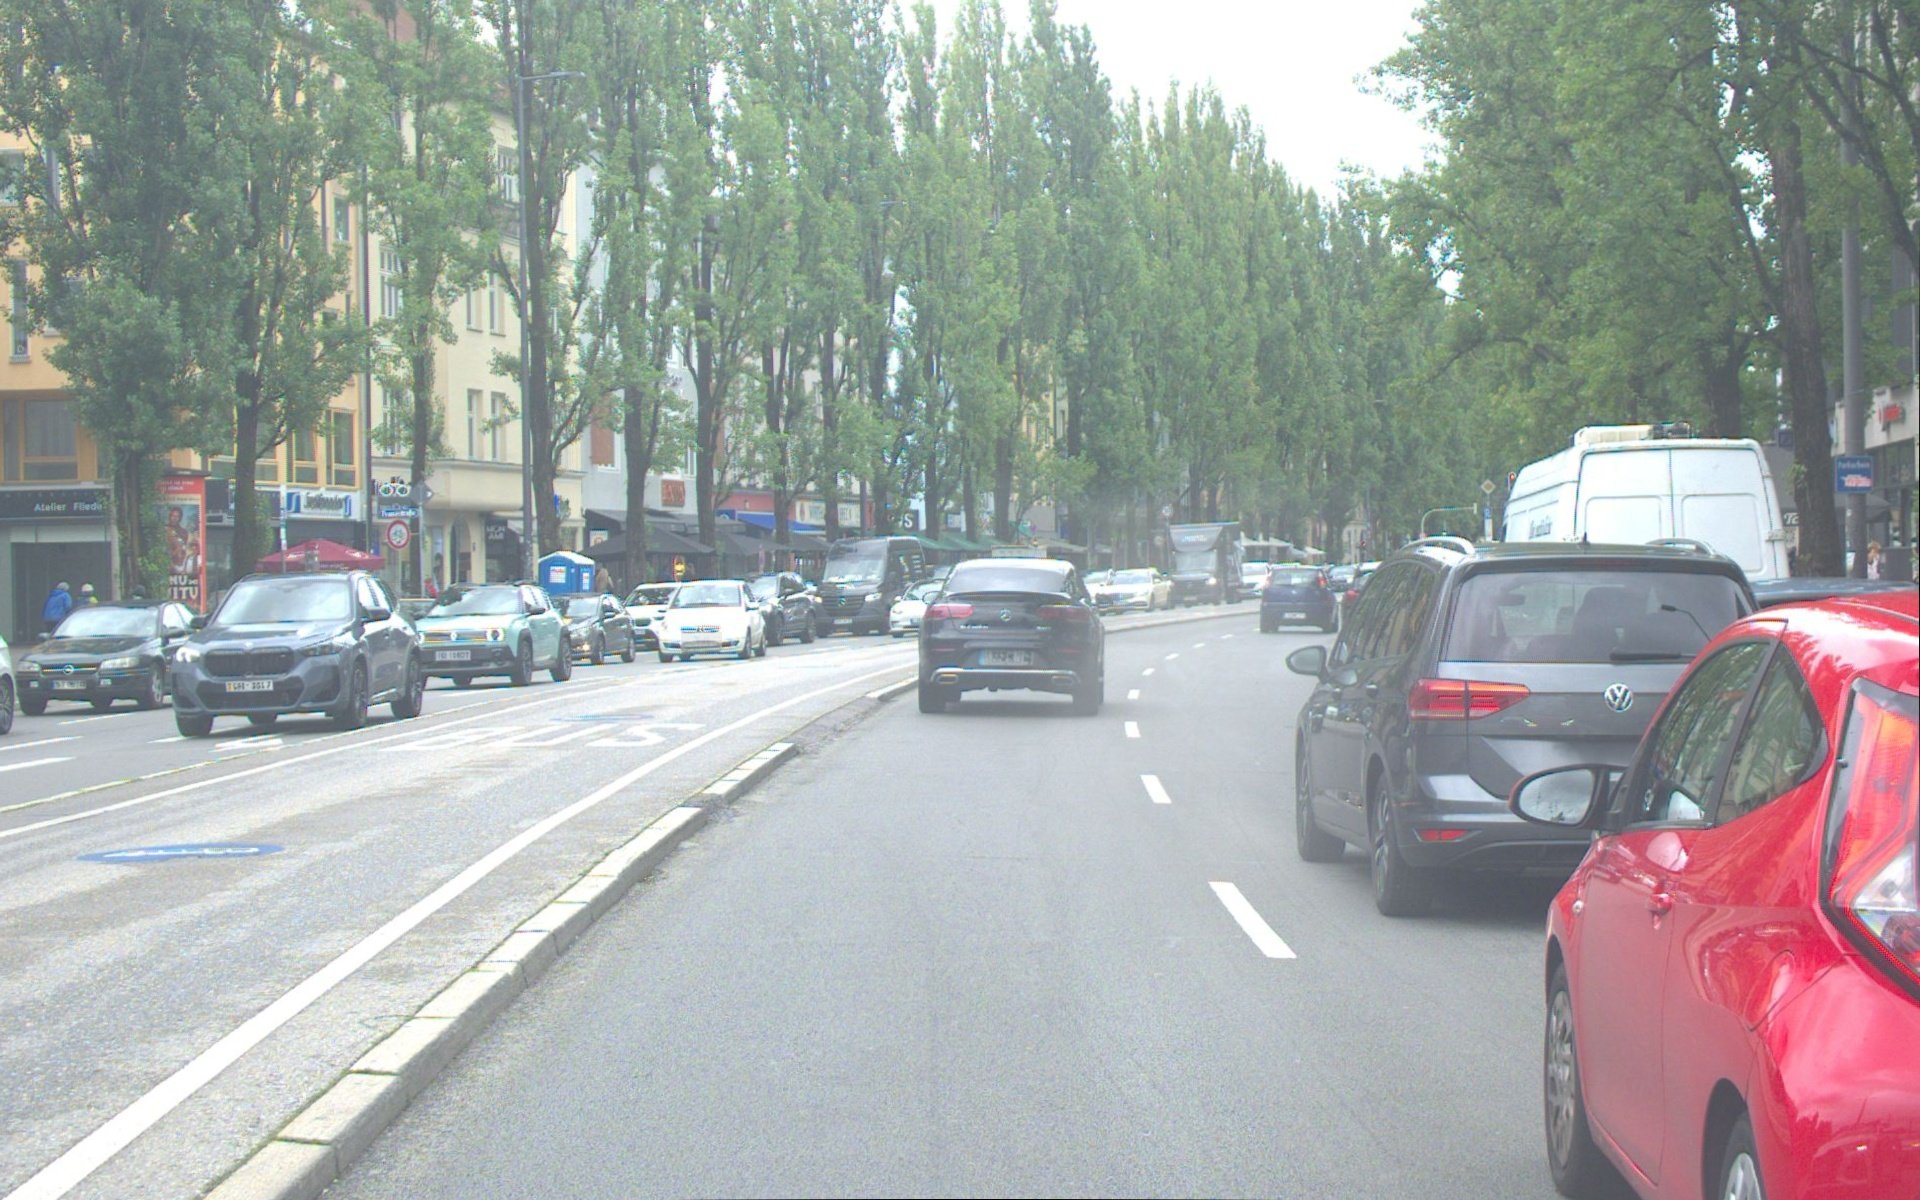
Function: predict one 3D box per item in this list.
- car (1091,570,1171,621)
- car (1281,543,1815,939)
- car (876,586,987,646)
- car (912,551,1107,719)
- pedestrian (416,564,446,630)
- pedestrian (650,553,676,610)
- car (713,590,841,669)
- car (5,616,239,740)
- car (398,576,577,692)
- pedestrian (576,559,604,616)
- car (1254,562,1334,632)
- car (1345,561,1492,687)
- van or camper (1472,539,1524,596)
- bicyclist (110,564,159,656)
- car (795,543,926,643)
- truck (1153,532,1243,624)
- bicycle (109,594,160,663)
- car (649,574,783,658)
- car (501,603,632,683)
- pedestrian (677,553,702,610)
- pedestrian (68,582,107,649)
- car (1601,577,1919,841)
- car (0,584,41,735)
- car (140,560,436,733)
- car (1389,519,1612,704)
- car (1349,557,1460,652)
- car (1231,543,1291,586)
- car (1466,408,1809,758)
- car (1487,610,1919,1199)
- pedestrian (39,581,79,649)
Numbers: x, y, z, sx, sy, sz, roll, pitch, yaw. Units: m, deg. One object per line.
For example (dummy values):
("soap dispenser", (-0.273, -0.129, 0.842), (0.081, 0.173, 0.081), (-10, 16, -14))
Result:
("car", (5.839, -0.165, 116.645), (1.994, 1.583, 5.193), (-3, 0, 10))
("car", (2.583, 0.552, 16.056), (1.761, 1.608, 4.184), (0, 1, 0))
("car", (-0.697, 0.386, 87.775), (1.800, 1.389, 4.688), (-1, 1, 12))
("car", (0.592, 0.326, 36.662), (1.881, 1.636, 4.582), (-1, 1, 3))
("pedestrian", (-14.017, -0.081, 91.135), (0.539, 1.741, 0.755), (0, 1, 13))
("pedestrian", (-9.751, -0.622, 112.780), (0.638, 1.855, 0.647), (-1, 1, 13))
("car", (-4.240, 0.655, 80.440), (2.019, 1.710, 4.981), (-1, 0, 8))
("car", (-10.788, 0.976, 44.590), (1.729, 1.404, 4.687), (-1, 1, 2))
("car", (-6.962, 0.467, 50.971), (1.817, 1.540, 4.000), (-3, 0, 3))
("pedestrian", (-11.251, -0.380, 104.682), (0.638, 1.694, 0.647), (-1, 1, 13))
("car", (8.010, -0.071, 82.277), (1.760, 1.614, 3.746), (0, 0, 8))
("car", (6.372, 0.298, 48.146), (1.727, 1.680, 4.408), (0, 1, 4))
("van or camper", (24.444, -1.477, 156.034), (2.035, 2.467, 3.997), (-1, -1, 13))
("bicyclist", (-14.570, 0.171, 60.676), (0.502, 1.587, 0.834), (-1, 0, 13))
("car", (-2.647, -0.218, 93.039), (2.171, 2.596, 6.061), (-1, 0, 11))
("truck", (9.081, -0.852, 130.400), (2.292, 3.311, 7.153), (-2, 0, 12))
("bicycle", (-14.565, 0.498, 60.675), (0.368, 1.197, 1.153), (-1, 1, 14))
("car", (-4.826, 0.294, 68.583), (1.954, 1.584, 3.999), (-1, 0, 6))
("car", (-7.825, 0.831, 68.614), (1.784, 1.461, 3.999), (-2, 0, 5))
("pedestrian", (-8.869, -0.617, 112.746), (0.638, 1.855, 0.647), (-1, 1, 13))
("pedestrian", (-18.784, 0.326, 74.010), (0.632, 1.430, 0.778), (-1, 1, -1))
("car", (5.140, 0.608, 21.504), (1.725, 1.449, 4.147), (1, 1, 4))
("car", (-11.255, 0.668, 35.725), (1.994, 1.595, 4.289), (-1, 1, 4))
("car", (-6.902, 0.436, 35.784), (1.994, 1.615, 4.413), (-2, 0, 2))
("car", (5.604, 0.094, 36.153), (1.929, 1.799, 4.779), (0, 0, 4))
("car", (8.319, 0.086, 64.076), (1.925, 1.694, 4.648), (0, 0, 9))
("car", (12.570, -1.477, 143.280), (1.861, 1.705, 4.533), (-2, 0, 12))
("car", (5.721, -0.133, 29.750), (1.993, 2.732, 5.554), (0, 0, 2))
("car", (2.148, 0.751, 7.064), (1.665, 1.441, 3.596), (0, 0, 2))
("pedestrian", (-19.404, 0.320, 74.044), (0.632, 1.430, 0.778), (-1, 1, -1))
